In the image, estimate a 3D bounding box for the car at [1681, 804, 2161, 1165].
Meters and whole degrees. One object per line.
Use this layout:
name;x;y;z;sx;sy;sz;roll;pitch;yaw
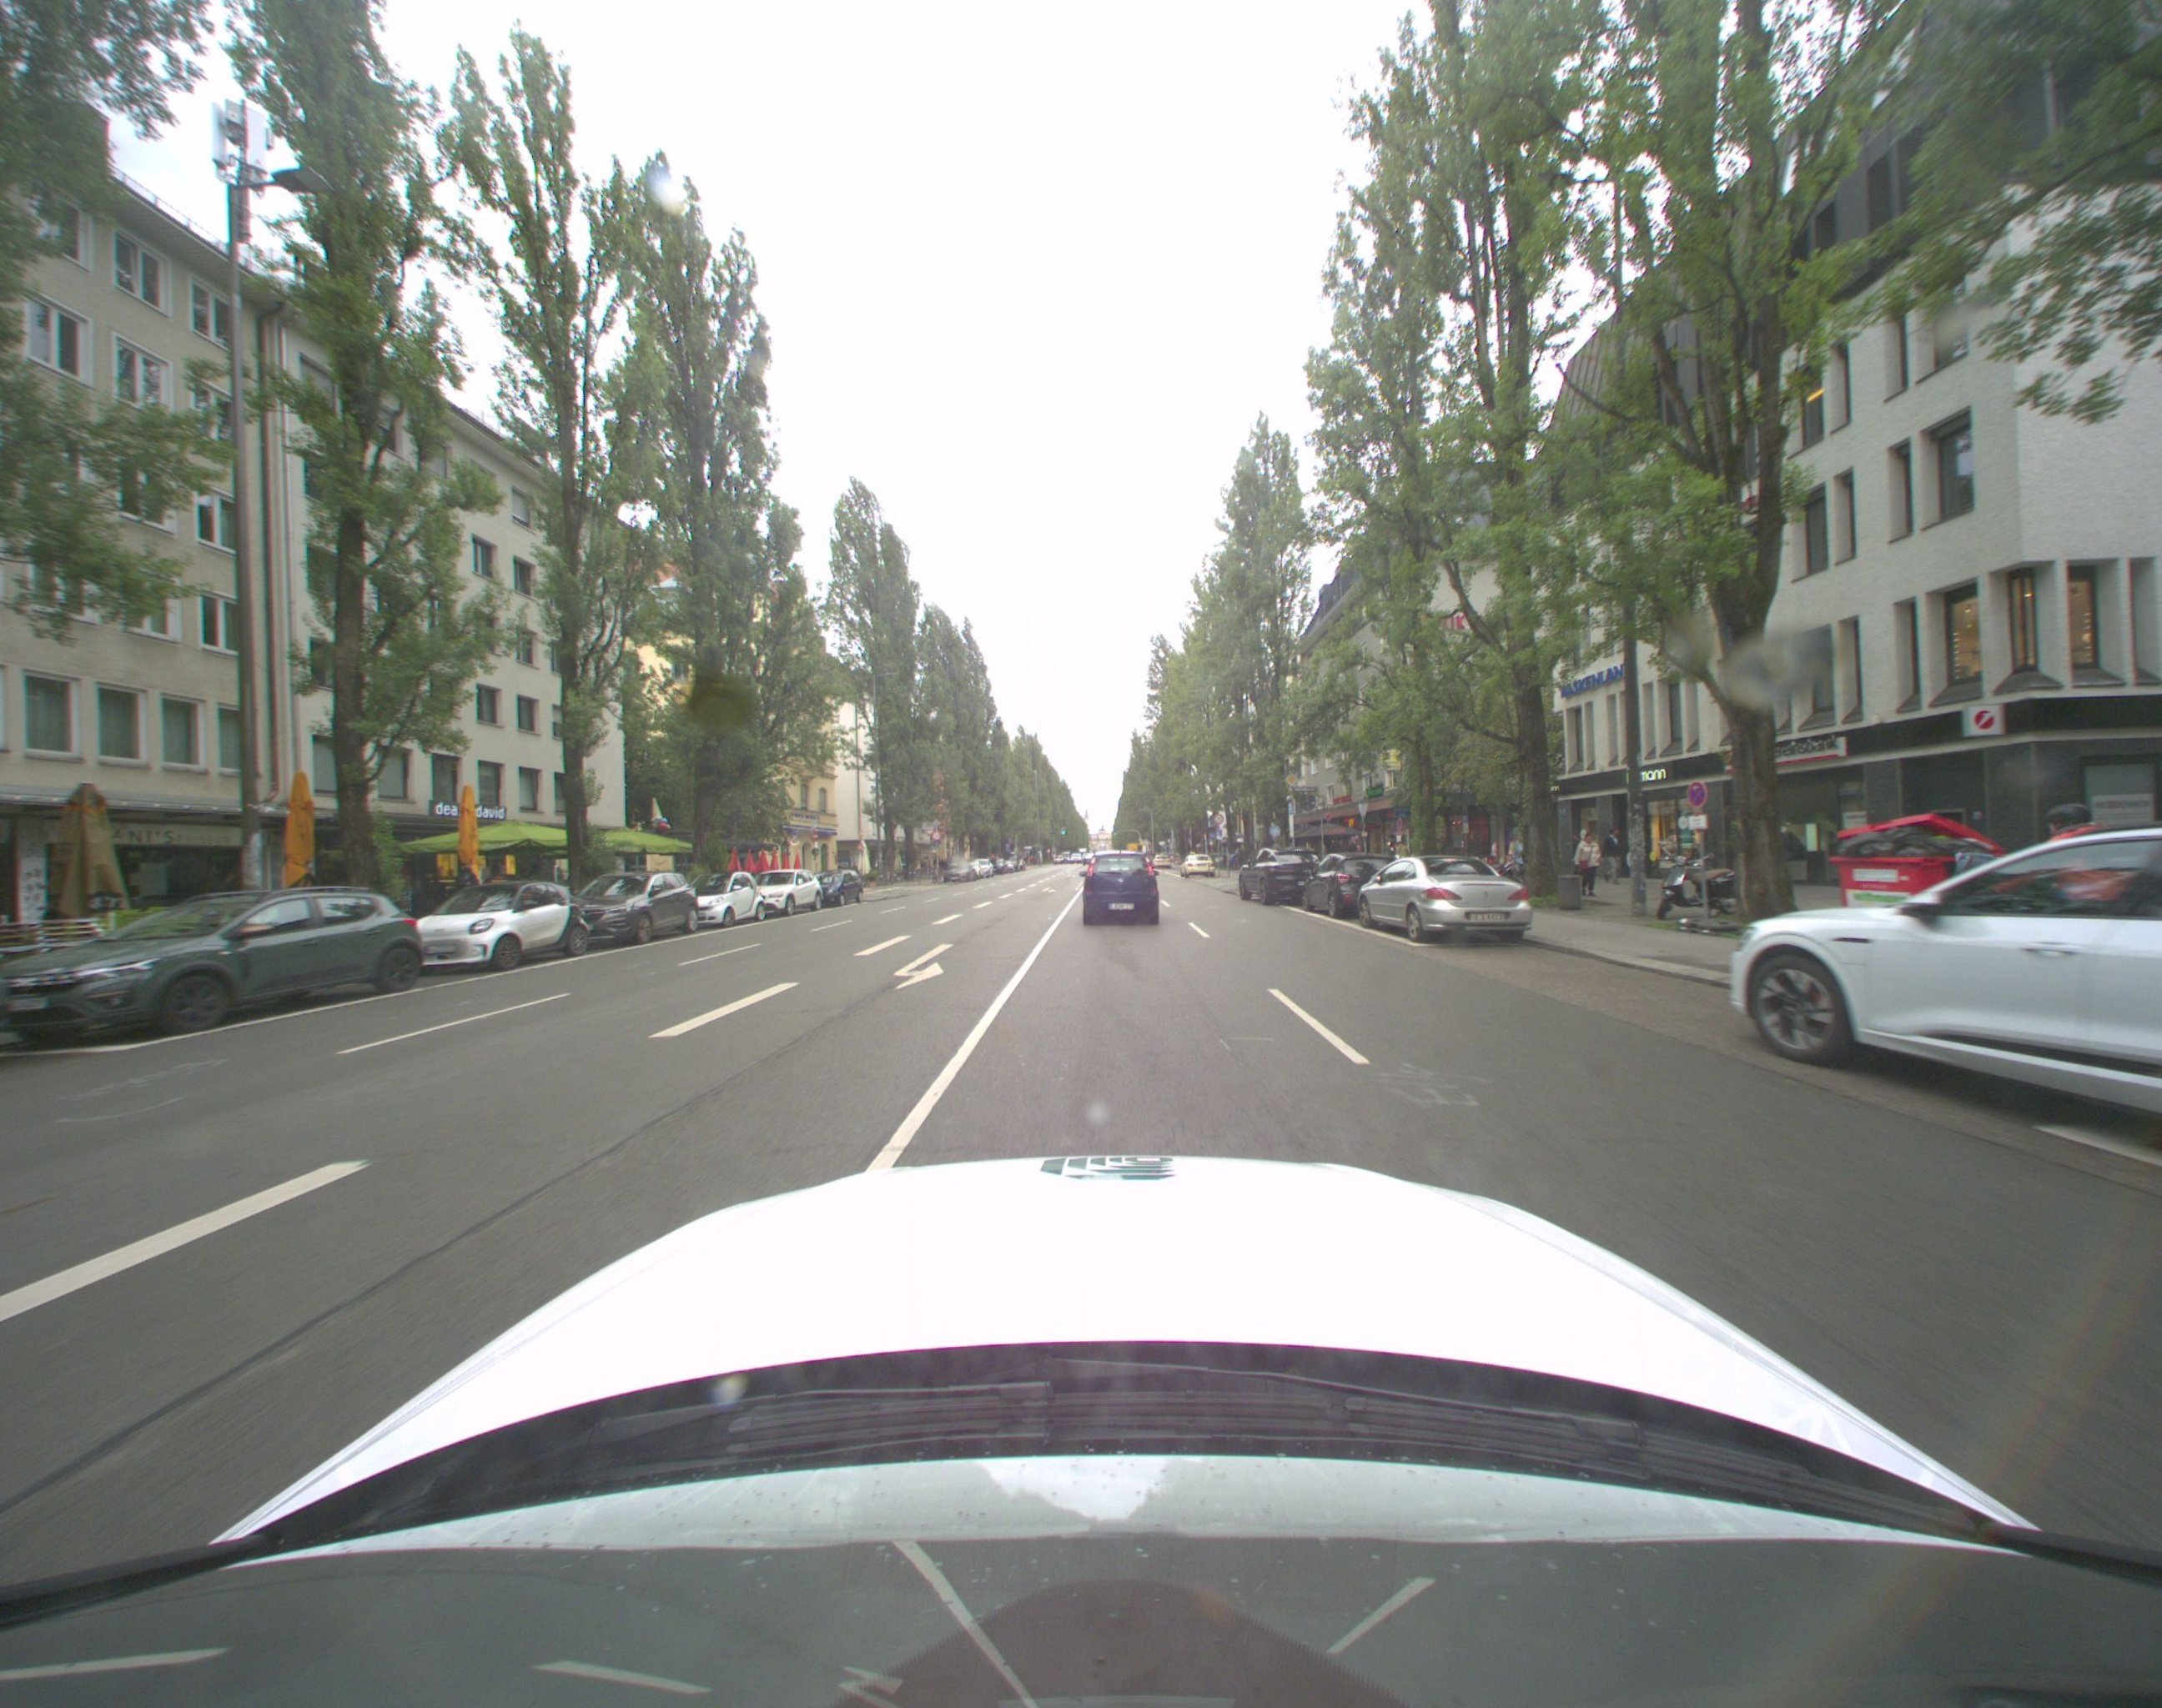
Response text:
car;5.762;0.575;4.238;1.821;1.621;4.748;-1;0;1

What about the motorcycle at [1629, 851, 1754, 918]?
motorcycle;11.319;0.557;15.128;1.826;1.139;0.694;-2;-1;-5

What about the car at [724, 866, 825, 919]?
car;-10.185;1.224;27.404;1.829;1.546;4.085;-2;0;-1

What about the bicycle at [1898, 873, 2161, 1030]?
bicycle;8.223;0.737;6.750;0.624;1.087;2.264;-2;0;1

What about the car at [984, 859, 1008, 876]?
car;-8.590;1.352;82.791;1.955;1.530;4.000;-2;0;0

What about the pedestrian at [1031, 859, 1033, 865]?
pedestrian;-9.160;1.522;152.265;0.256;1.090;0.290;-2;0;7

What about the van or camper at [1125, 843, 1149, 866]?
van or camper;6.625;0.070;96.850;2.467;2.581;5.847;-2;0;2

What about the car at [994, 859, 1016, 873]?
car;-8.232;1.347;88.892;1.955;1.399;3.779;-2;0;1

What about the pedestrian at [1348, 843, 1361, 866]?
pedestrian;17.846;0.034;53.136;0.638;1.526;0.484;-2;0;1

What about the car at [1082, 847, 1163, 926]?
car;0.899;0.689;19.202;1.675;1.641;4.000;-1;0;1

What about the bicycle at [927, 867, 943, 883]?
bicycle;-9.737;1.392;54.353;0.664;1.006;2.460;-2;0;-2

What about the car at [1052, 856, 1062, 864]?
car;-5.315;1.358;179.794;1.955;1.549;3.779;-2;0;1

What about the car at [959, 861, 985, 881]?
car;-8.795;1.369;65.986;1.541;1.453;3.458;-2;0;1

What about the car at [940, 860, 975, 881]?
car;-9.048;1.186;59.896;1.824;1.420;3.812;-2;0;1

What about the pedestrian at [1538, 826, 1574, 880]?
pedestrian;16.138;-0.035;27.684;0.790;1.812;0.682;-2;0;-1

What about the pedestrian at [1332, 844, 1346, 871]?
pedestrian;15.351;0.211;48.415;0.638;1.526;0.484;-2;0;1

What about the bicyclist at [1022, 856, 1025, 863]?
bicyclist;-13.917;1.305;196.555;0.618;1.713;0.563;-2;0;-5

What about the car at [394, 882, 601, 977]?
car;-10.620;1.316;15.086;1.626;1.428;2.983;-2;0;0

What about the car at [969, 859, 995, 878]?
car;-8.567;1.254;70.784;1.648;1.562;3.458;-2;0;1

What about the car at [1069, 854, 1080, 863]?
car;-1.108;0.790;149.551;1.828;1.677;3.779;-2;0;1

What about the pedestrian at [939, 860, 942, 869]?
pedestrian;-17.204;1.243;99.931;0.287;1.090;0.259;-2;0;7

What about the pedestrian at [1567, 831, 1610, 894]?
pedestrian;13.179;0.229;21.159;0.651;1.601;0.705;-1;-1;2

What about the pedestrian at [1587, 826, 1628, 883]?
pedestrian;16.711;0.016;25.882;0.725;1.751;0.859;-1;-1;-1

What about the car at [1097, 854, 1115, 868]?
car;2.860;0.768;93.044;1.987;1.497;4.000;-2;0;1

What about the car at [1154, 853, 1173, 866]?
car;8.731;0.568;86.080;1.663;1.352;4.106;-2;0;2

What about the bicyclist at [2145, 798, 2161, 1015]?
bicyclist;8.194;0.377;5.811;0.619;1.588;0.391;-2;0;0

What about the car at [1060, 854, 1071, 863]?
car;-3.077;0.882;162.359;1.828;1.739;3.779;-2;0;1

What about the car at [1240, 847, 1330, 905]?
car;6.032;0.620;24.518;1.791;1.594;4.106;0;0;2

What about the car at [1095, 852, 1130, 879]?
car;1.844;0.671;49.243;1.987;1.497;4.000;-2;0;1

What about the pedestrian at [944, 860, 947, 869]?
pedestrian;-16.788;1.249;101.045;0.287;1.090;0.259;-2;0;7

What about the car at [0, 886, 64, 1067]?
car;-10.969;1.204;5.662;1.859;1.654;4.615;-4;0;0

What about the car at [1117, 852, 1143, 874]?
car;3.739;0.667;62.440;1.700;1.574;4.001;-3;0;1

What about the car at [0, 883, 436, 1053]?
car;-10.675;1.238;10.311;1.692;1.550;4.082;-2;0;0

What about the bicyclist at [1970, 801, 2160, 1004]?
bicyclist;8.212;0.384;6.833;0.619;1.588;0.753;-2;0;1

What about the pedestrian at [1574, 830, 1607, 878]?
pedestrian;17.774;0.012;28.431;0.652;1.626;0.704;-2;0;-1

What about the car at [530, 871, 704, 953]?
car;-10.582;1.238;18.986;1.837;1.565;4.173;-2;0;-4

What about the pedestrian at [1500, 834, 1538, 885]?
pedestrian;14.178;0.182;26.389;0.737;1.626;0.761;0;-1;-19

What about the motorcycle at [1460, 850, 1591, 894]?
motorcycle;12.586;0.502;23.118;3.115;1.090;1.191;-2;0;-7

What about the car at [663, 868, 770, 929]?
car;-10.380;1.235;23.410;1.566;1.534;2.925;-2;0;4

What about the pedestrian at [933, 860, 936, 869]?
pedestrian;-17.931;1.252;99.911;0.287;1.090;0.259;-2;0;7

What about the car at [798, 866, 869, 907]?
car;-9.854;1.264;32.640;1.579;1.447;3.394;-2;0;4

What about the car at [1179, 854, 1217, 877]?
car;7.374;0.697;51.558;1.890;1.362;3.901;-2;0;2

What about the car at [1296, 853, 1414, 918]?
car;6.444;0.692;19.552;1.676;1.415;3.583;0;0;1

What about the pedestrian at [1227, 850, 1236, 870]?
pedestrian;11.973;0.485;64.704;0.650;1.626;0.705;-1;-1;6

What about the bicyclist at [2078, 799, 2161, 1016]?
bicyclist;8.198;0.380;6.173;0.619;1.588;0.481;-2;0;0

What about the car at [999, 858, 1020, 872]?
car;-8.169;1.262;93.279;1.955;1.549;3.779;-2;0;1

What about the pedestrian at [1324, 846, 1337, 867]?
pedestrian;17.433;0.186;56.900;0.682;1.469;0.678;-2;0;1

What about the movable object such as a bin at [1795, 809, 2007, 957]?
movable object such as a bin;10.361;0.344;10.386;1.030;1.703;1.585;-2;0;-2

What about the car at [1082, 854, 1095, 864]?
car;1.175;0.766;125.491;1.955;1.399;3.779;-2;0;1

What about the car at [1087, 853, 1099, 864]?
car;2.033;0.676;137.936;1.828;1.761;3.779;-2;0;1

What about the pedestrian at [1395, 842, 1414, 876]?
pedestrian;17.166;0.257;43.193;0.651;1.751;0.860;-1;-1;2

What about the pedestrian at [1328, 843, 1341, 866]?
pedestrian;16.490;0.032;52.962;0.638;1.526;0.484;-2;0;1

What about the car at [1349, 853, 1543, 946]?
car;6.255;0.692;14.498;1.664;1.406;4.128;0;0;1

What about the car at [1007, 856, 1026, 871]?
car;-7.876;1.166;99.736;1.987;1.662;4.000;-2;0;1

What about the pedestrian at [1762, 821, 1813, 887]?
pedestrian;18.100;0.002;20.880;0.652;1.626;0.704;-2;0;-1
